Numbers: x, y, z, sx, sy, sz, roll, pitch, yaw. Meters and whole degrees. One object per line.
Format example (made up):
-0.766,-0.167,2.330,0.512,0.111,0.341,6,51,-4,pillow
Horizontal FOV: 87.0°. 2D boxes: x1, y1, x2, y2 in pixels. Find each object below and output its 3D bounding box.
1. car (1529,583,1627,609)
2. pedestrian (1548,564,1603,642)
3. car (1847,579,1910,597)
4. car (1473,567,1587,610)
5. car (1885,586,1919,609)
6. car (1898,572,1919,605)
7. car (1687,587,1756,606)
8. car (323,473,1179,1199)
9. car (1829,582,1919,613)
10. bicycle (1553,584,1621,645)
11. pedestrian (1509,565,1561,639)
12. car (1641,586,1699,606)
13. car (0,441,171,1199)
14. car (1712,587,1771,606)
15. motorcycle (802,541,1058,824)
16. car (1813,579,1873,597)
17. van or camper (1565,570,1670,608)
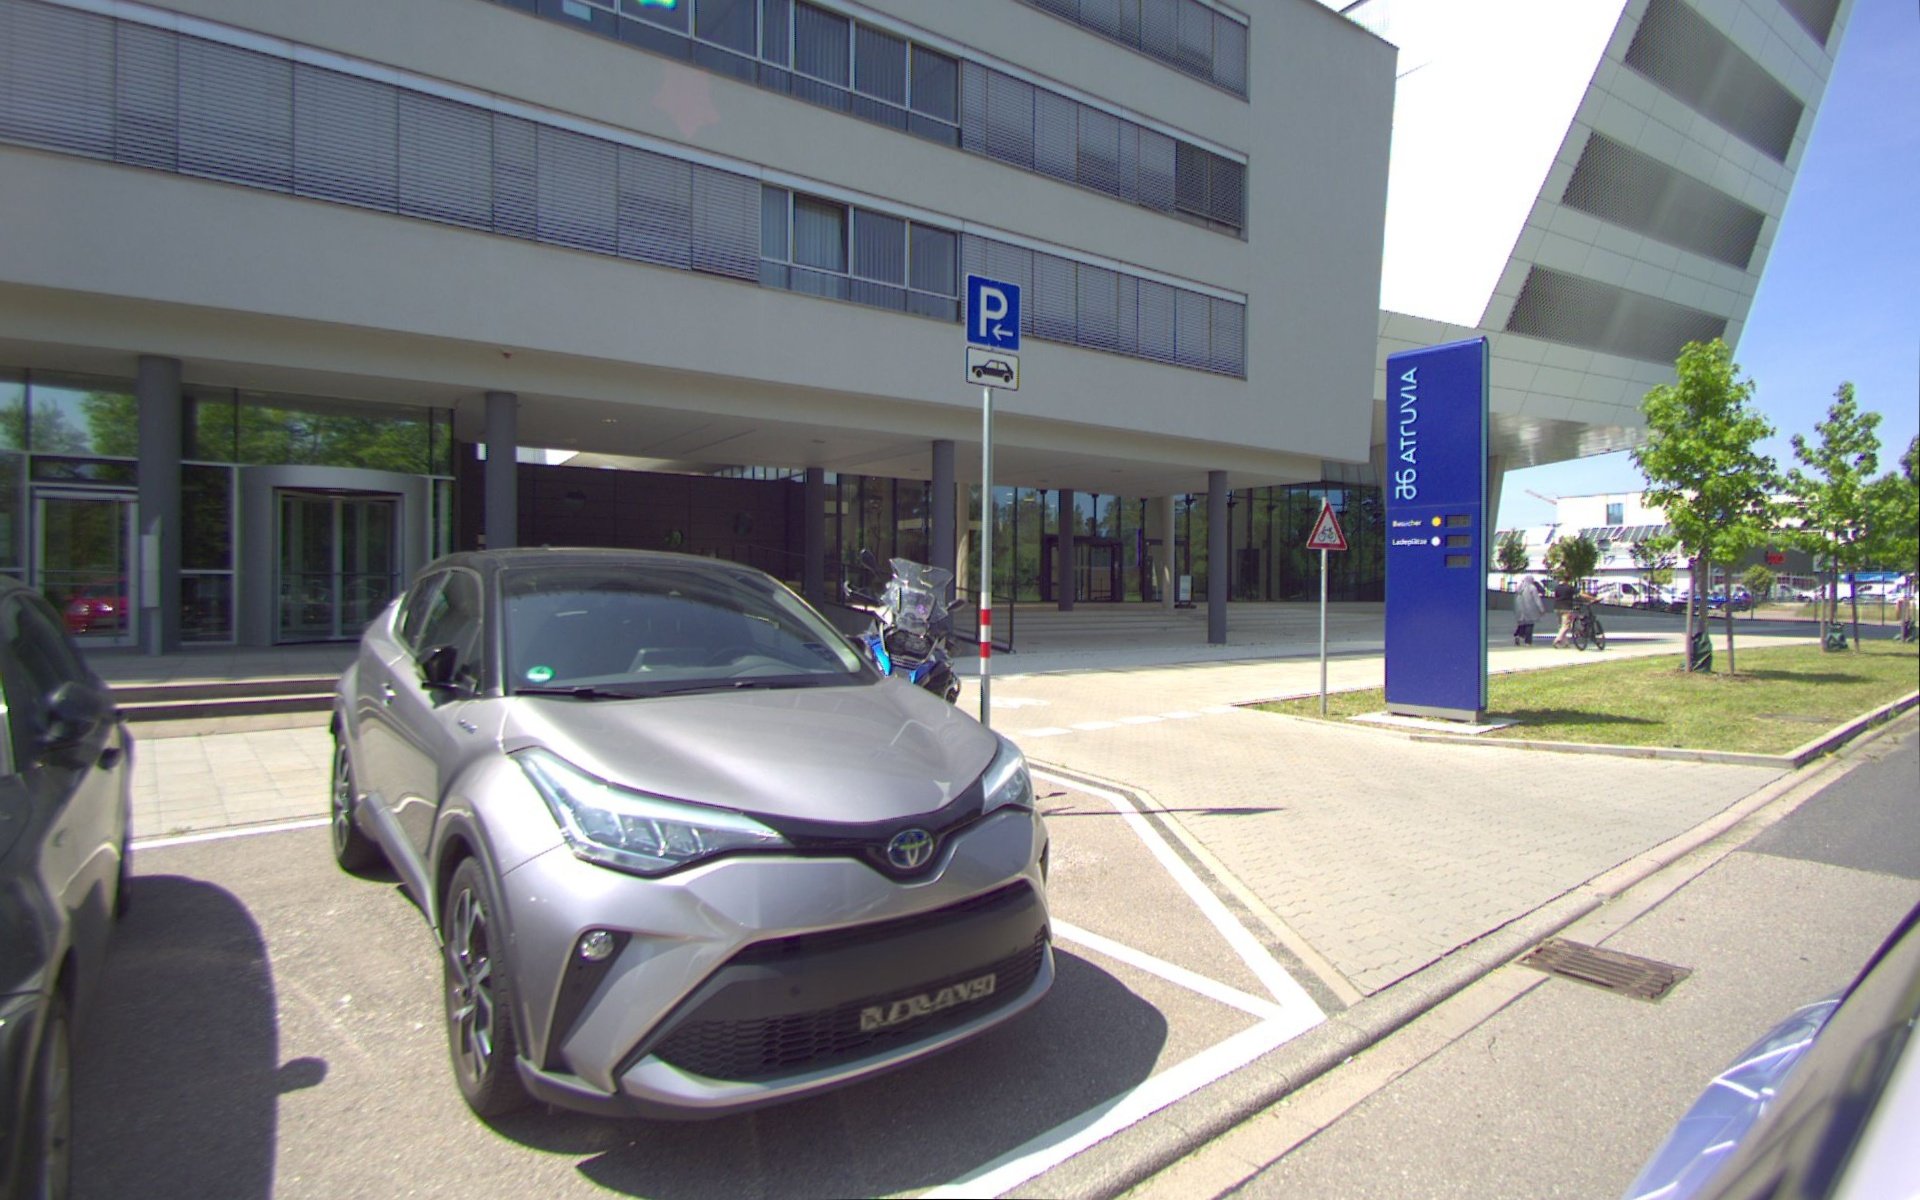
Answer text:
40.033,-0.248,65.688,1.670,1.661,5.233,-1,0,-33,car
13.980,0.057,22.987,0.762,1.722,0.843,0,0,-41,pedestrian
90.821,-1.177,100.121,1.670,1.678,4.327,-1,0,-33,car
33.860,-0.653,60.305,1.961,2.491,5.589,-1,0,-33,car
60.392,-0.162,62.950,1.622,1.411,3.998,-1,0,-36,car
66.500,-0.787,66.716,2.123,2.177,6.502,-1,0,-33,car
55.980,-0.238,74.463,1.431,1.388,3.821,-1,0,-33,car
-1.365,0.453,4.235,1.754,1.583,4.332,-1,3,-38,car
52.323,-0.120,57.759,1.709,1.695,3.823,-1,0,-37,car
13.938,0.296,22.458,2.265,1.270,0.644,-1,0,-41,bicycle
13.430,0.043,23.647,0.762,1.681,0.843,0,0,-41,pedestrian
47.247,-0.250,67.358,1.177,1.320,2.899,-1,0,-33,car
-3.020,0.486,2.503,1.625,1.504,3.818,-1,2,-37,car
58.441,-0.277,75.731,1.381,1.367,3.231,-1,0,-33,car
-0.336,0.410,6.735,1.200,1.516,2.451,1,2,-13,motorcycle
81.602,-1.075,93.560,1.670,1.561,3.922,-1,0,-33,car
43.972,-0.715,67.803,1.670,2.420,5.708,-1,0,-33,van or camper
